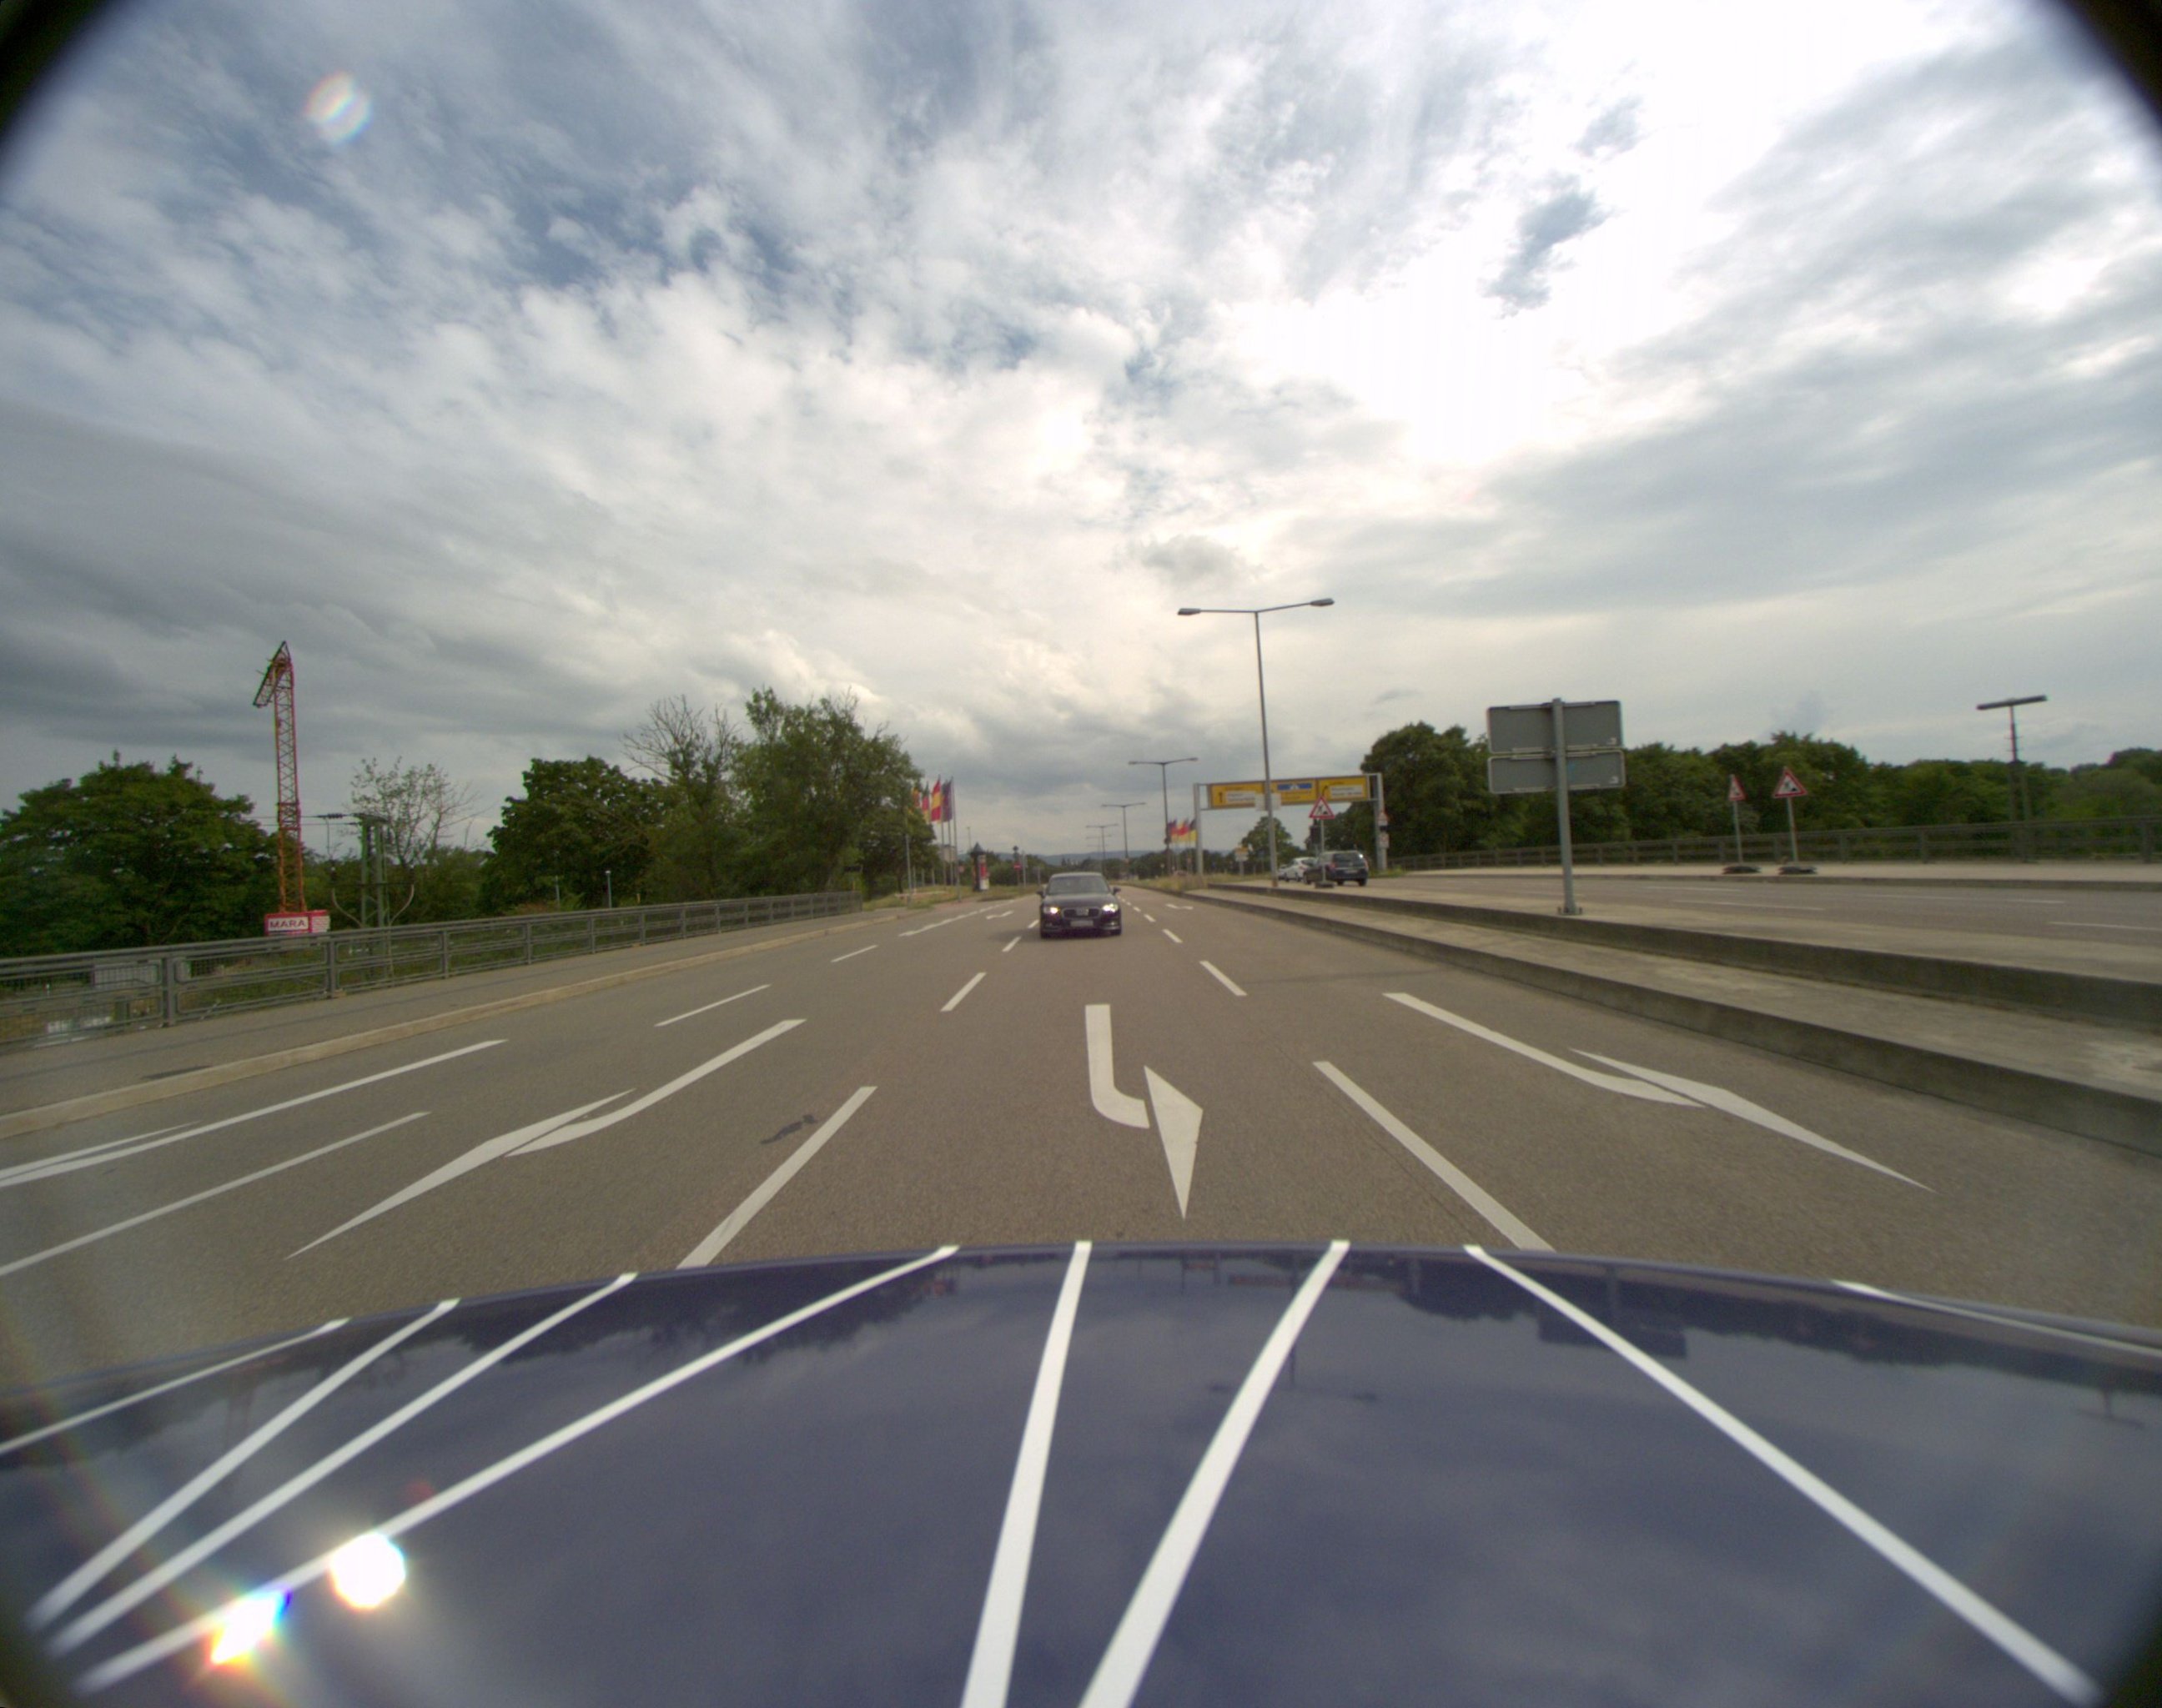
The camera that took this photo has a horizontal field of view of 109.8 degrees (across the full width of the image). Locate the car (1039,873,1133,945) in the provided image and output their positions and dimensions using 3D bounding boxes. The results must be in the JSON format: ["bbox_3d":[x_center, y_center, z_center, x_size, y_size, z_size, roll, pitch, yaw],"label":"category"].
[{"bbox_3d":[0.102,1.187,17.939,1.852,1.355,4.730,-3,-1,0],"label":"car"}]

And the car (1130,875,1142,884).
[{"bbox_3d":[10.500,4.927,145.399,1.776,1.597,3.878,-3,-2,-1],"label":"car"}]

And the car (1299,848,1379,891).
[{"bbox_3d":[10.981,0.642,32.682,1.892,1.630,4.585,-3,-1,1],"label":"car"}]

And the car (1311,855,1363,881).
[{"bbox_3d":[17.398,0.960,51.845,1.892,1.630,4.546,-3,-1,0],"label":"car"}]

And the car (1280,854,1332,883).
[{"bbox_3d":[13.953,0.893,47.439,1.892,1.630,4.218,-3,-1,0],"label":"car"}]

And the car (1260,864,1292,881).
[{"bbox_3d":[18.543,1.761,72.463,1.892,1.522,4.453,-3,-1,1],"label":"car"}]

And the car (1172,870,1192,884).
[{"bbox_3d":[12.641,2.875,95.239,1.727,1.522,3.917,-3,-1,-2],"label":"car"}]
